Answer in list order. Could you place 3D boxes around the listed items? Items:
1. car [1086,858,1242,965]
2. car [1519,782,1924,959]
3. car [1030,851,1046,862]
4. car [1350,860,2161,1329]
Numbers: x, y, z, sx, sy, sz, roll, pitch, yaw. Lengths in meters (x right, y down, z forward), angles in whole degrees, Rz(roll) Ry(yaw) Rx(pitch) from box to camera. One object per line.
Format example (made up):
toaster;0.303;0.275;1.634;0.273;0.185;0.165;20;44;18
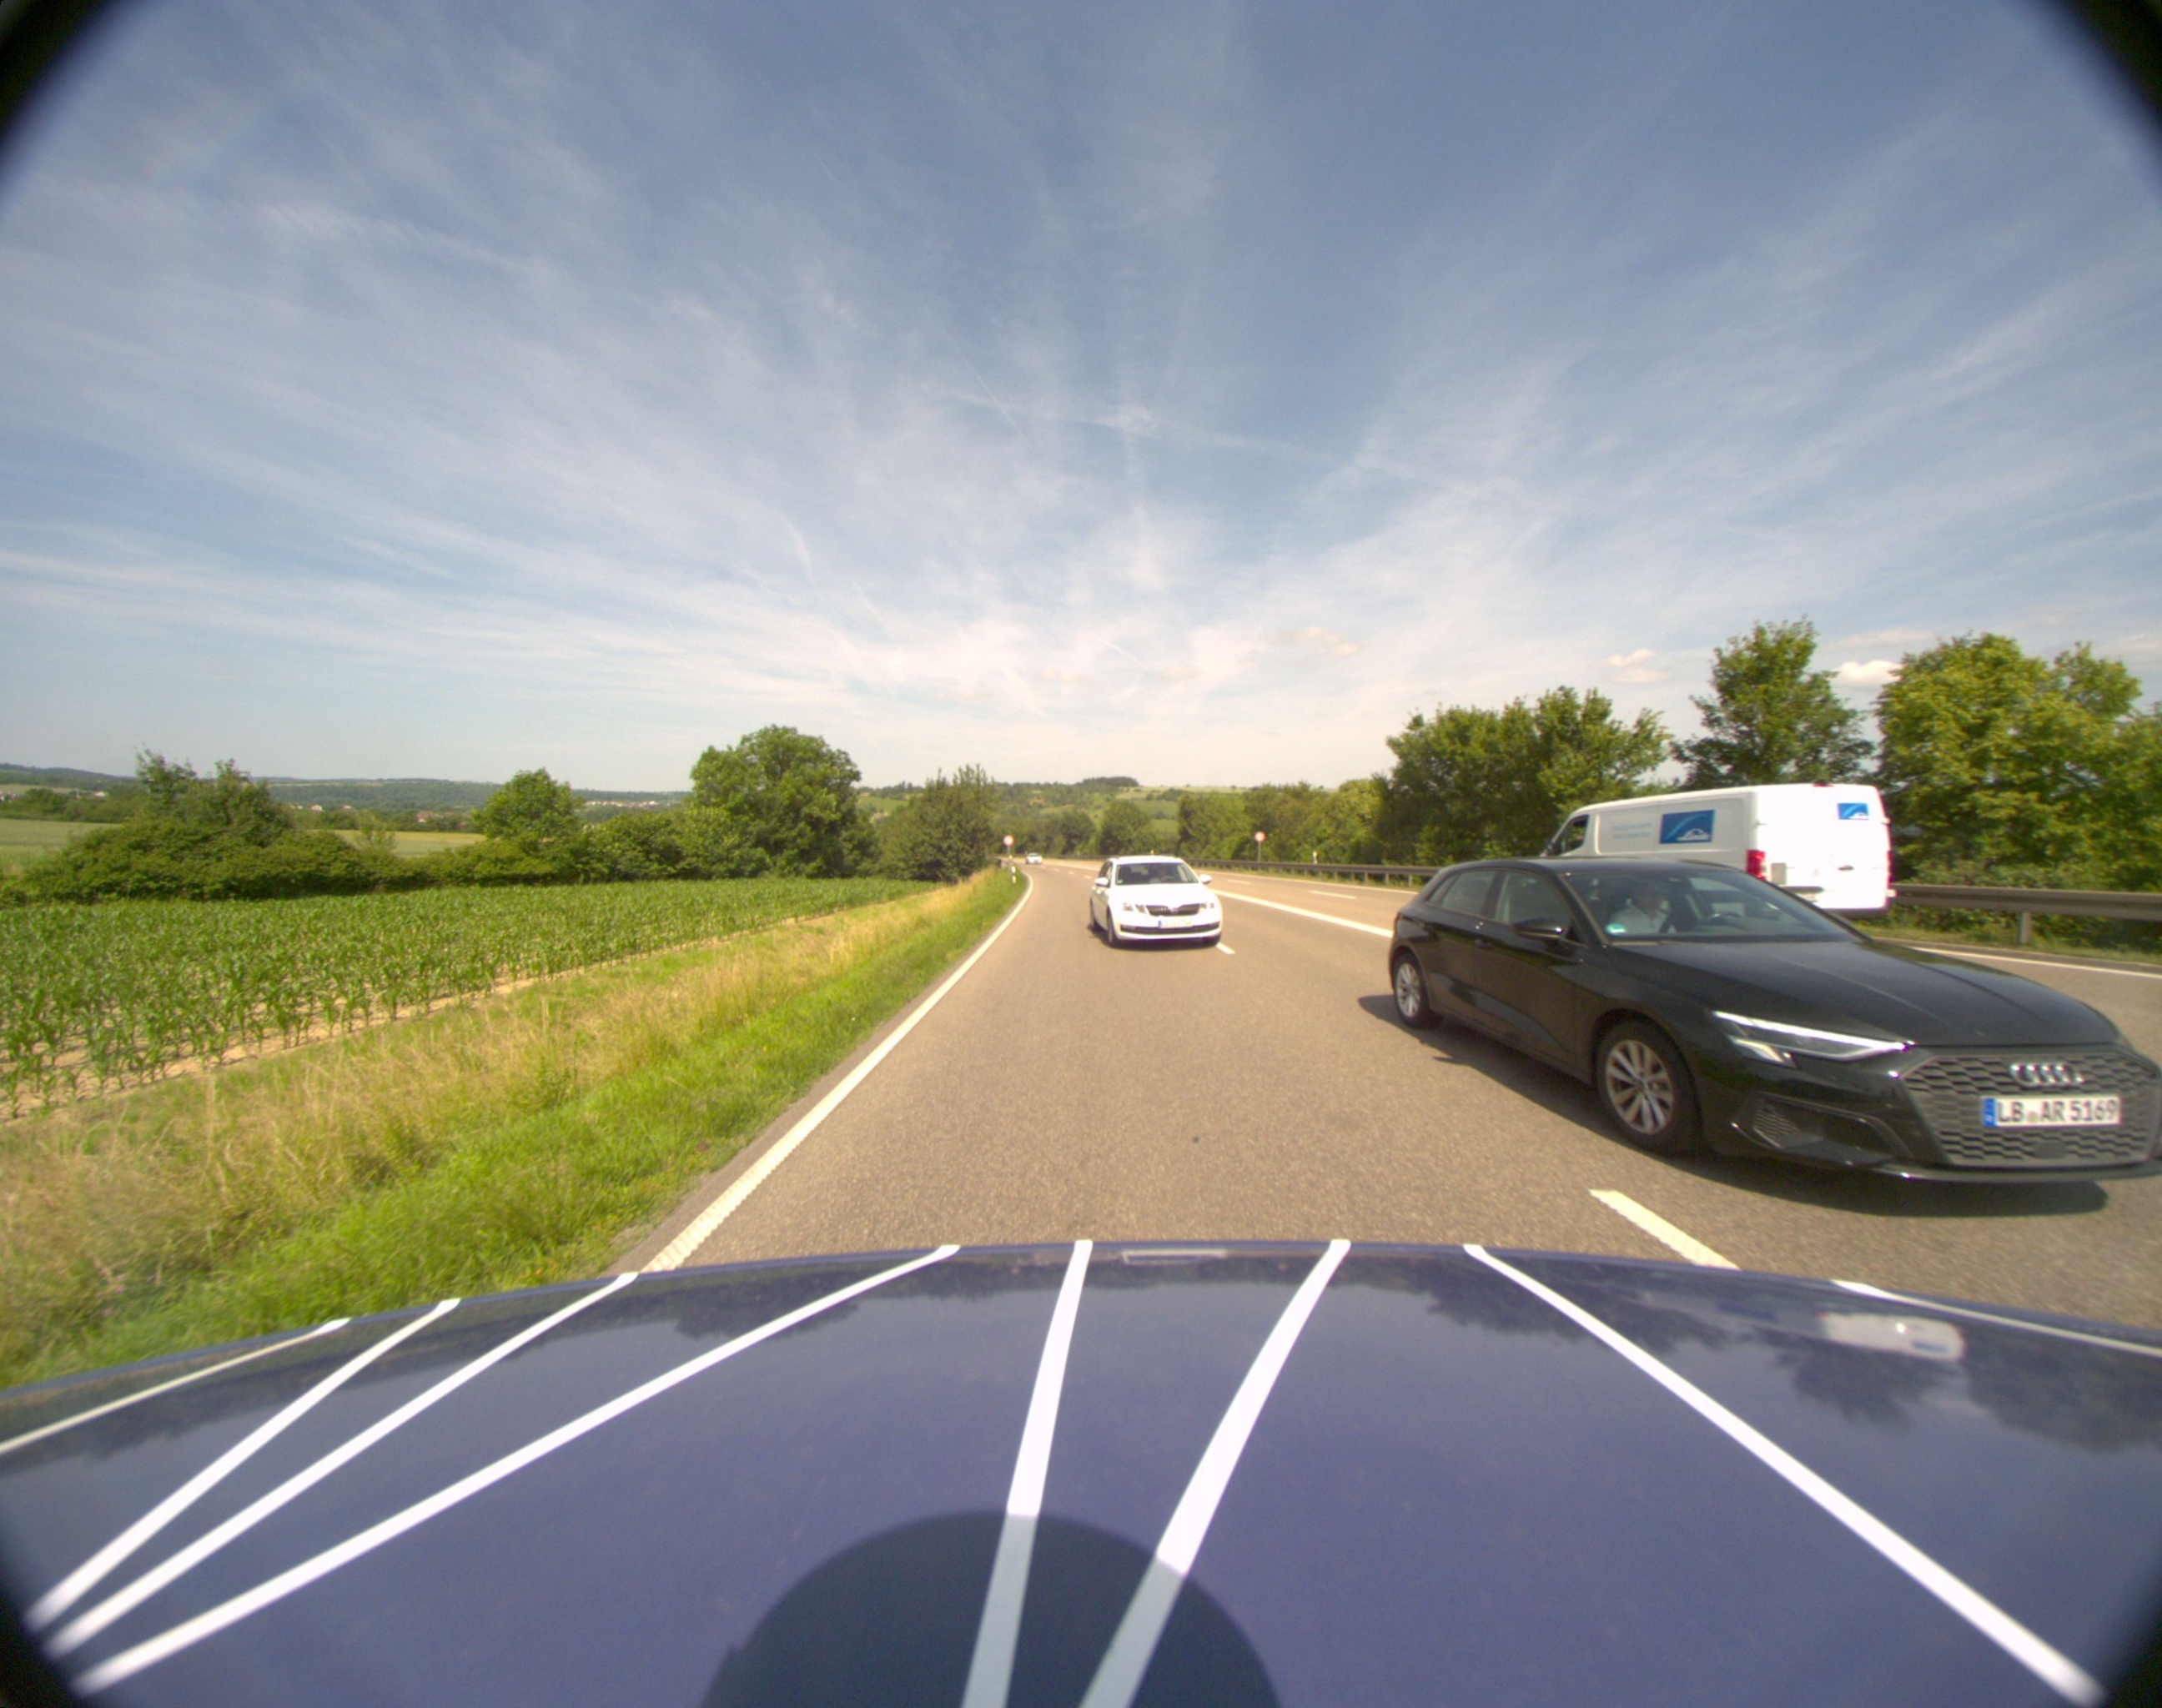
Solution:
car;1.215;0.835;13.280;1.826;1.463;4.786;-1;0;-5
car;10.432;0.207;13.290;2.094;2.381;5.843;-1;1;-1
car;-5.787;0.354;102.108;1.709;1.368;4.599;-1;0;-8
car;3.504;0.841;4.990;1.709;1.464;4.810;-1;1;-1
